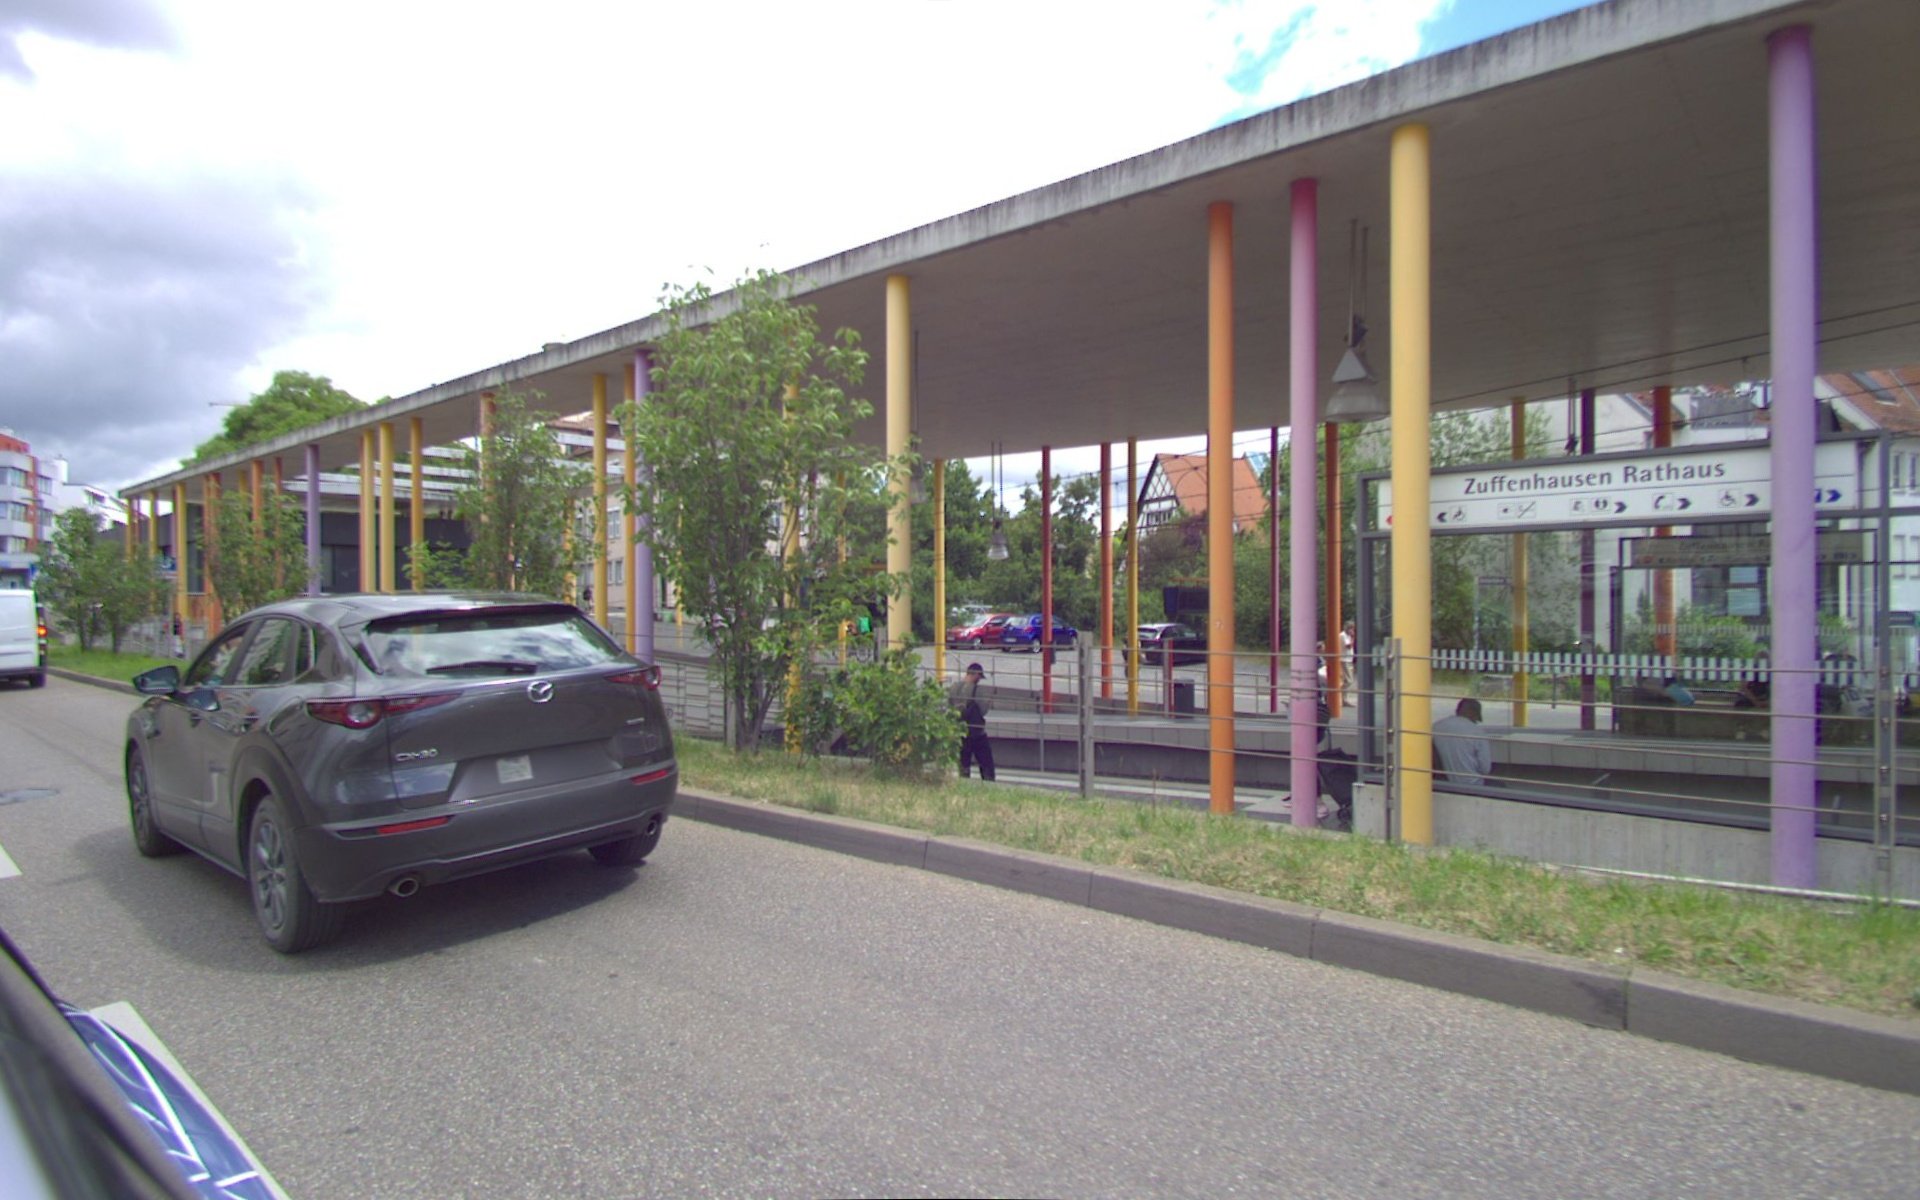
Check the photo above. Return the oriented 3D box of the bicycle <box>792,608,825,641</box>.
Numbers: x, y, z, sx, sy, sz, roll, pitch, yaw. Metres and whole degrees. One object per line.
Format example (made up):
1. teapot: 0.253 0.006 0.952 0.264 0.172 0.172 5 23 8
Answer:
1. bicycle: -6.510 1.038 43.497 0.524 1.278 2.065 -1 2 -36

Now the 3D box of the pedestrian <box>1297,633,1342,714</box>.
1. pedestrian: 7.815 1.582 21.996 0.730 1.674 0.635 2 2 41

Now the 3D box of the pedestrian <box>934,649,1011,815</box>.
1. pedestrian: 0.143 1.537 12.072 0.710 1.843 0.580 2 2 43

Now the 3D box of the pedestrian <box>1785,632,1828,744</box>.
1. pedestrian: 14.307 1.478 17.115 0.491 1.834 0.478 -2 -1 38

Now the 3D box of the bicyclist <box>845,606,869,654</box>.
1. bicyclist: -3.550 1.025 34.836 0.681 1.605 0.478 2 2 44

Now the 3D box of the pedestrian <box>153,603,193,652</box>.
1. pedestrian: -26.924 0.926 34.616 0.814 1.577 0.918 1 2 39

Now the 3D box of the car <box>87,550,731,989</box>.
1. car: -3.266 0.577 5.571 4.252 1.532 1.707 0 1 41

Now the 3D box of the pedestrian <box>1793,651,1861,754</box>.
1. pedestrian: 12.698 1.476 14.821 0.702 1.389 0.917 -2 0 42

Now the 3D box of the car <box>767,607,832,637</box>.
1. car: -9.304 1.280 58.530 1.875 1.682 4.006 -1 -1 -40

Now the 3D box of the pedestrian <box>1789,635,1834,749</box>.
1. pedestrian: 13.772 1.474 16.377 0.491 1.788 0.478 -2 -1 38

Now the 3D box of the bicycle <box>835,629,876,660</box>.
1. bicycle: -3.603 1.517 34.898 1.613 0.970 0.478 2 2 44

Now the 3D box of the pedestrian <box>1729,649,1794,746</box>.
1. pedestrian: 12.252 1.468 15.473 0.702 1.389 0.644 -2 0 42

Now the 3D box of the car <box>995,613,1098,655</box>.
1. car: 3.421 1.301 39.838 3.933 1.411 1.574 -1 2 -34

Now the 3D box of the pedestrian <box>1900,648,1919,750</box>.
1. pedestrian: 13.664 1.383 14.151 0.702 1.389 0.644 -2 0 42

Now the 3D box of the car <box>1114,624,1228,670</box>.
1. car: 7.349 1.580 35.096 3.933 1.347 1.574 -1 2 -34

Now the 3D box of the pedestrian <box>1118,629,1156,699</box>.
1. pedestrian: 4.500 1.612 25.743 0.730 1.674 0.635 2 2 41

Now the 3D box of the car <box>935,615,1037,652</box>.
1. car: 1.085 1.356 41.922 3.933 1.347 1.731 -1 2 -34

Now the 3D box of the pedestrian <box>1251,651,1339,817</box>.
1. pedestrian: 3.515 1.365 10.615 0.636 1.626 0.623 -2 -1 42

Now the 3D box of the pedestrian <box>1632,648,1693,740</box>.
1. pedestrian: 11.376 1.500 16.387 0.705 1.389 0.678 -2 0 42

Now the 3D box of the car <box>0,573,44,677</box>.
1. car: -19.917 0.491 20.120 5.063 1.931 1.983 -1 1 42

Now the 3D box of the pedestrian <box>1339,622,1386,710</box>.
1. pedestrian: 9.138 1.475 22.994 0.800 1.897 0.635 2 2 41

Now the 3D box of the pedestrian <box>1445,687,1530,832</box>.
1. pedestrian: 4.390 1.301 8.416 0.484 1.091 0.559 -2 -1 40

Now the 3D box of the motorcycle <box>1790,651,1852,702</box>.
1. motorcycle: 23.317 2.066 27.411 1.539 1.349 0.514 2 -2 -16
